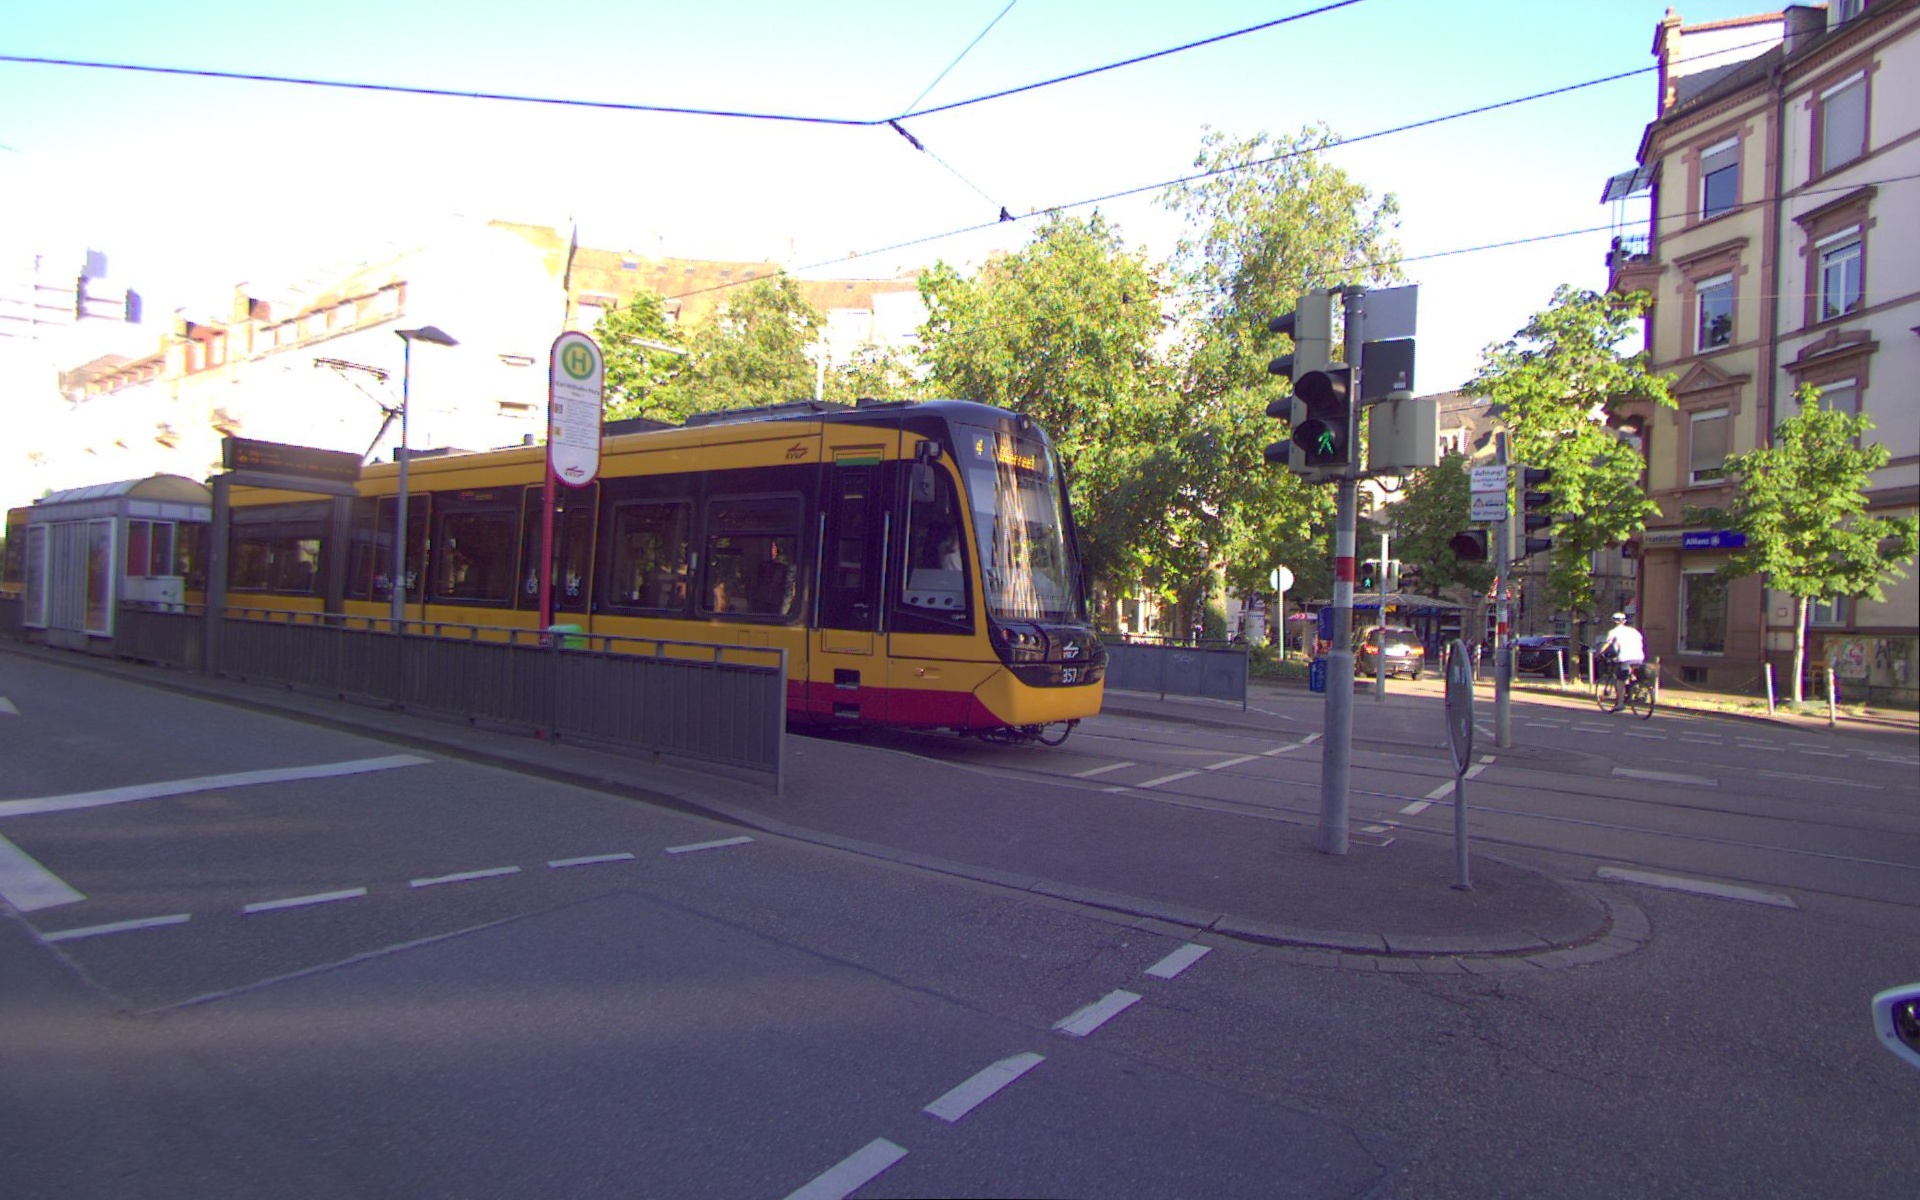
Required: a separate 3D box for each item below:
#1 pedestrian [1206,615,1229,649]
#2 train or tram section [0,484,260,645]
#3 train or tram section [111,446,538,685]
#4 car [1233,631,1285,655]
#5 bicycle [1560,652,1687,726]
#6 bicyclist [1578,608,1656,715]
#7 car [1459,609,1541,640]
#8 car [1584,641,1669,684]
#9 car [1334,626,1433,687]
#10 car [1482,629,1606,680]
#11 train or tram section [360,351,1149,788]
[{"bbox_3d":[13.600,1.696,53.002,0.709,1.773,0.876,3,-1,-33],"label":"pedestrian"},{"bbox_3d":[-23.154,-0.893,27.290,12.474,3.604,2.764,2,-1,36],"label":"train or tram section"},{"bbox_3d":[-13.174,-0.614,20.000,12.217,3.635,2.777,2,-1,36],"label":"train or tram section"},{"bbox_3d":[22.361,3.209,75.169,1.653,1.519,3.543,4,-2,-30],"label":"car"},{"bbox_3d":[12.321,1.621,18.763,0.797,1.200,2.226,2,-1,-3],"label":"bicycle"},{"bbox_3d":[12.335,1.137,18.879,0.781,1.938,0.945,2,-1,-3],"label":"bicyclist"},{"bbox_3d":[32.327,1.460,60.227,1.857,1.669,3.967,3,-1,-30],"label":"car"},{"bbox_3d":[25.025,2.338,37.681,3.173,1.477,1.492,3,-1,-33],"label":"car"},{"bbox_3d":[12.614,1.627,30.168,1.759,1.562,3.862,4,-1,9],"label":"car"},{"bbox_3d":[20.377,1.900,35.013,4.318,1.632,1.783,3,-1,-30],"label":"car"},{"bbox_3d":[-3.546,-0.338,12.976,11.608,3.667,2.791,2,-1,36],"label":"train or tram section"}]
